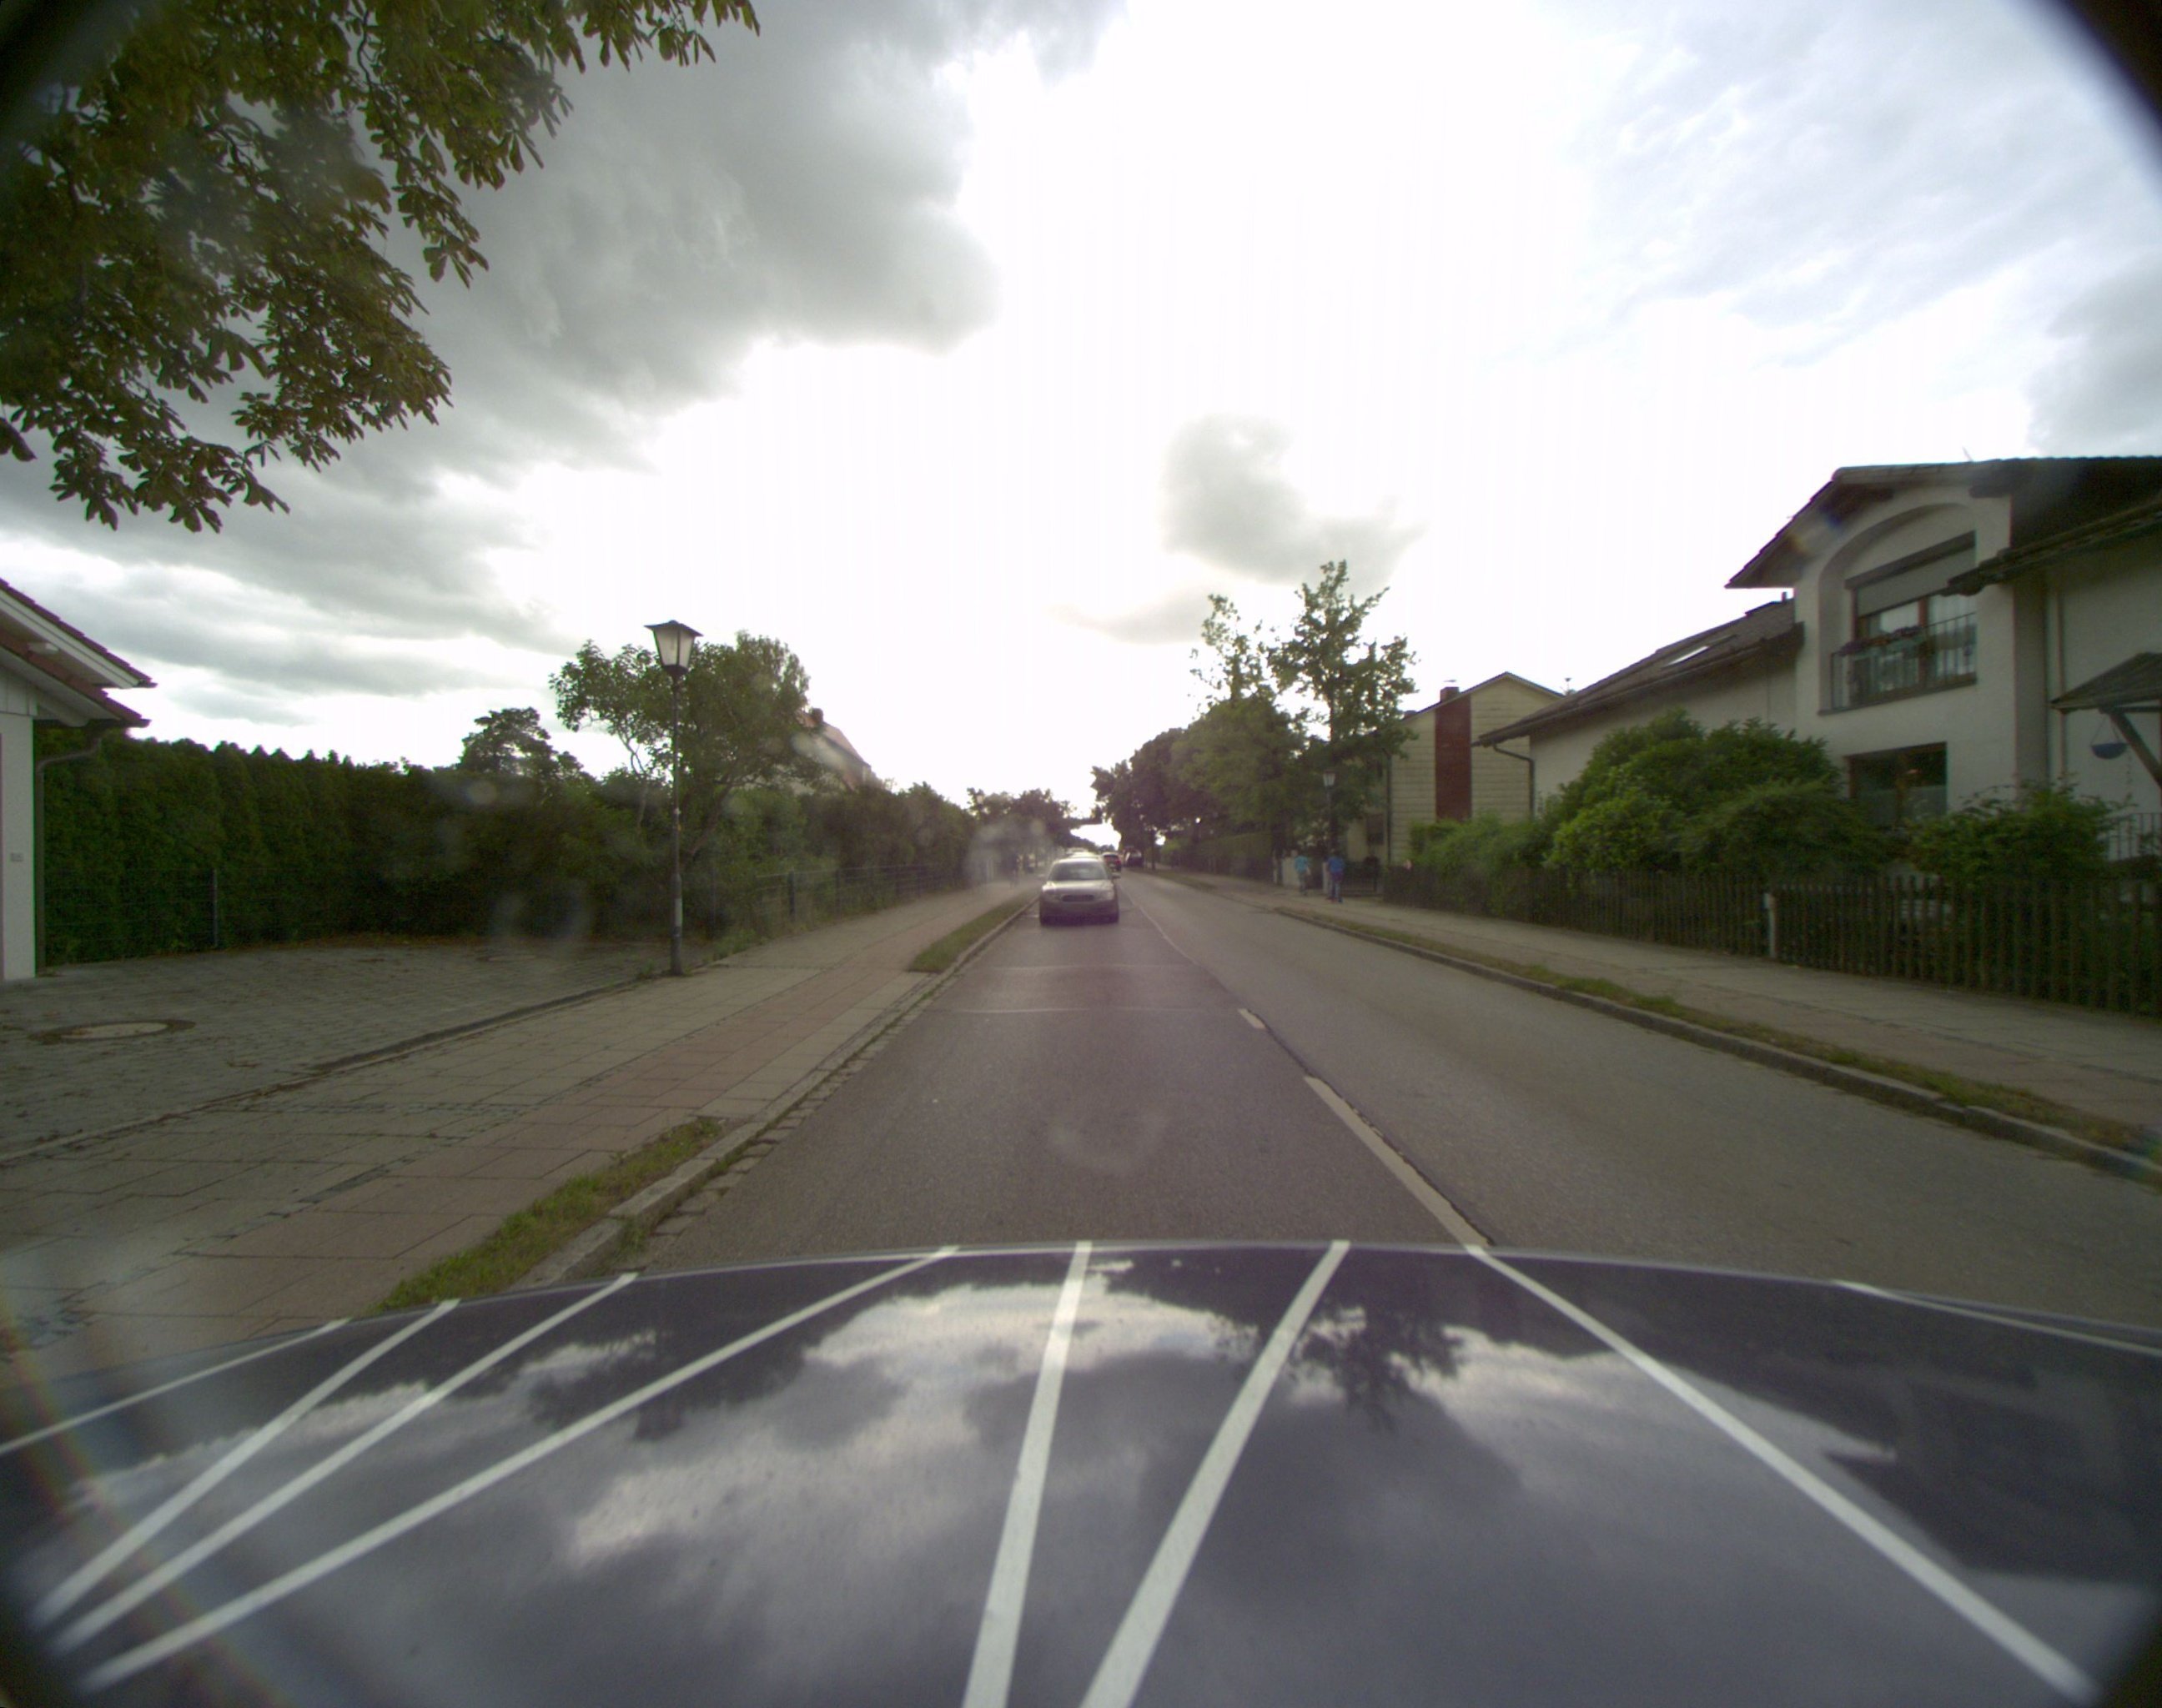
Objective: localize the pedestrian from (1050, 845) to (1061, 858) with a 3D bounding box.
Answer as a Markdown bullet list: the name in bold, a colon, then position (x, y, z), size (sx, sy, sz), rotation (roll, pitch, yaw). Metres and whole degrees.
- **pedestrian**: position (-4.099, -0.361, 122.742), size (1.252, 2.002, 1.023), rotation (-1, 1, 27)

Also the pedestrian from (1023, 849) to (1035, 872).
- **pedestrian**: position (-3.702, 0.471, 54.050), size (0.793, 1.593, 0.671), rotation (-1, 1, -5)

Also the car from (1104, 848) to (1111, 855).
- **car**: position (7.705, -0.748, 223.063), size (1.904, 1.873, 5.010), rotation (-1, 0, 1)

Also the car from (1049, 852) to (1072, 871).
- **car**: position (-1.696, 0.626, 63.295), size (1.867, 1.518, 4.122), rotation (-1, 0, -1)

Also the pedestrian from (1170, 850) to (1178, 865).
- **pedestrian**: position (8.905, 0.302, 72.591), size (0.631, 1.429, 0.563), rotation (-1, 1, 0)

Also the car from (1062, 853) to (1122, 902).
- **car**: position (0.356, 0.735, 26.785), size (1.866, 1.518, 4.942), rotation (-1, 0, 0)

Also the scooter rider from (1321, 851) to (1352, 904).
- **scooter rider**: position (7.199, 0.663, 21.419), size (0.664, 1.464, 0.580), rotation (-1, 1, 1)

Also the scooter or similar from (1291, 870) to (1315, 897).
- **scooter or similar**: position (7.401, 0.973, 25.360), size (0.522, 0.845, 1.061), rotation (-1, 0, 1)

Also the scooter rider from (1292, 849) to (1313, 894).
- **scooter rider**: position (7.385, 0.565, 25.364), size (0.504, 1.481, 0.716), rotation (-1, 1, 2)

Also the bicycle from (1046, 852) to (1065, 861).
- **bicycle**: position (-4.105, 0.392, 122.733), size (2.911, 1.541, 0.941), rotation (-1, 1, 23)

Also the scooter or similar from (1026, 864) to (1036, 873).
- **scooter or similar**: position (-3.503, 1.009, 53.345), size (0.618, 0.553, 0.742), rotation (-1, 1, -6)

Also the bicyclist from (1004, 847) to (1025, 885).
- **bicyclist**: position (-2.875, 0.520, 32.867), size (0.738, 1.623, 0.890), rotation (-1, 1, 2)

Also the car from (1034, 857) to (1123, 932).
- **car**: position (-0.046, 0.856, 17.977), size (1.809, 1.476, 4.270), rotation (-1, 0, 0)

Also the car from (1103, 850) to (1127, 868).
- **car**: position (3.070, 0.417, 69.341), size (1.935, 1.566, 4.311), rotation (1, 0, 0)

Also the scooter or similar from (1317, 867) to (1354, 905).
- **scooter or similar**: position (7.203, 0.899, 21.555), size (0.663, 1.031, 1.178), rotation (-1, 0, 2)

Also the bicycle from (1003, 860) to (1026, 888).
- **bicycle**: position (-2.870, 0.844, 32.924), size (0.766, 1.136, 1.845), rotation (-1, 0, 2)

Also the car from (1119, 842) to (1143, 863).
- **car**: position (5.677, -0.153, 87.376), size (2.246, 2.258, 4.469), rotation (-1, 0, -3)

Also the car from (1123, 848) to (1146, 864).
- **car**: position (5.701, 0.199, 81.538), size (1.999, 1.739, 3.999), rotation (-1, 0, -2)

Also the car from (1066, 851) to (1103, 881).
- **car**: position (0.190, 0.601, 41.445), size (1.866, 1.518, 4.122), rotation (-1, 0, 0)

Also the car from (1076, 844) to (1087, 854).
- **car**: position (0.095, -0.943, 150.487), size (1.998, 2.002, 4.000), rotation (-1, 0, 0)
